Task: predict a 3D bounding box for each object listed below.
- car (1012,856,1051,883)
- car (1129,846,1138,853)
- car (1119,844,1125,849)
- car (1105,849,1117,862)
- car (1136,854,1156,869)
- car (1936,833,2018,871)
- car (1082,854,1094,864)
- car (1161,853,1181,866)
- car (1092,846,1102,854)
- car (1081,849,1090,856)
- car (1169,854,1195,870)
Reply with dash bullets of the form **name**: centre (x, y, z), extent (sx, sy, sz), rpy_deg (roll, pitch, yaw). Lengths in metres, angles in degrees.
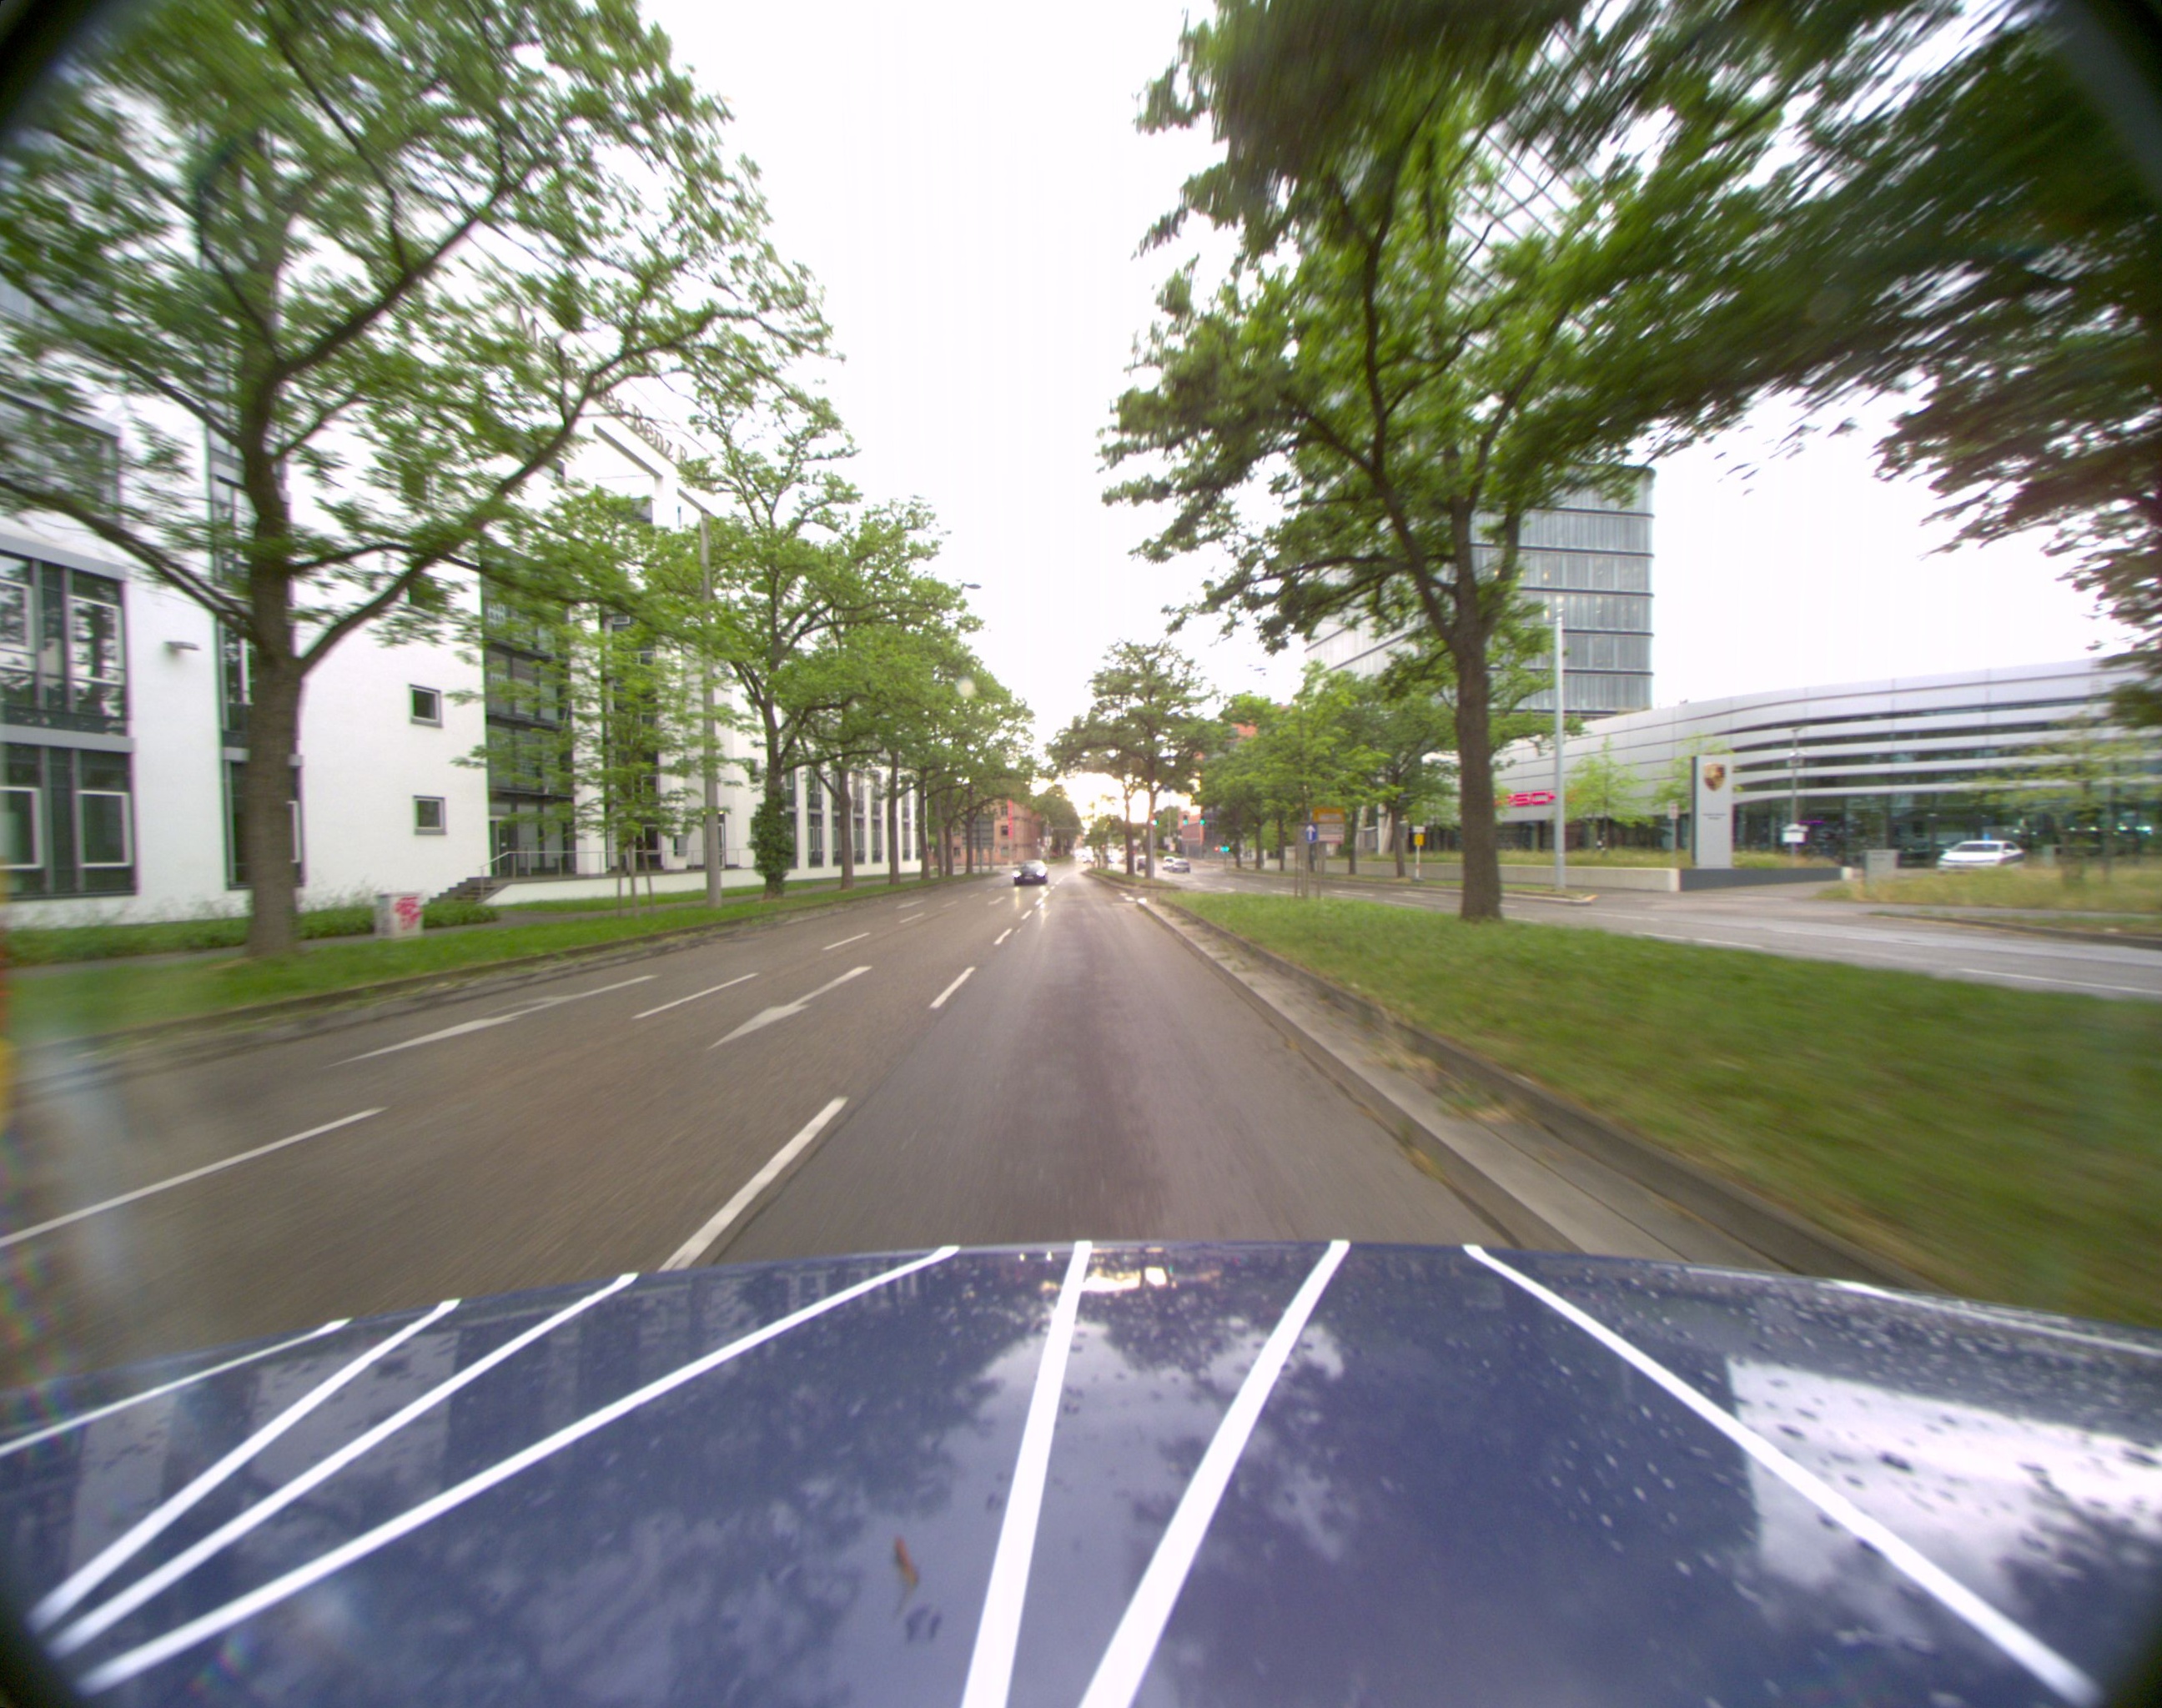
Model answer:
- **car**: centre (-2.895, 0.914, 45.510), extent (1.878, 1.346, 4.331), rpy_deg (-3, 1, 1)
- **car**: centre (12.891, -1.107, 188.352), extent (1.783, 1.445, 3.999), rpy_deg (-3, 1, -1)
- **car**: centre (13.297, -2.574, 246.840), extent (1.782, 1.445, 4.000), rpy_deg (-3, 1, 4)
- **car**: centre (4.947, 0.264, 125.518), extent (1.998, 2.002, 4.000), rpy_deg (-1, 0, 2)
- **car**: centre (7.287, 0.817, 85.291), extent (1.846, 1.581, 4.172), rpy_deg (0, 1, -2)
- **car**: centre (39.526, -0.098, 33.510), extent (4.006, 1.405, 1.774), rpy_deg (-4, 1, -32)
- **car**: centre (1.163, 0.805, 126.158), extent (1.625, 1.426, 3.551), rpy_deg (-3, 1, 4)
- **car**: centre (11.021, 0.650, 92.913), extent (1.783, 1.445, 3.999), rpy_deg (-3, 1, -1)
- **car**: centre (3.564, -0.875, 168.995), extent (1.998, 1.707, 4.000), rpy_deg (-1, 0, 2)
- **car**: centre (1.069, -0.317, 182.379), extent (1.998, 1.576, 4.000), rpy_deg (-1, 0, 2)
- **car**: centre (10.380, 0.849, 78.371), extent (1.894, 1.445, 3.999), rpy_deg (-3, 1, -1)
